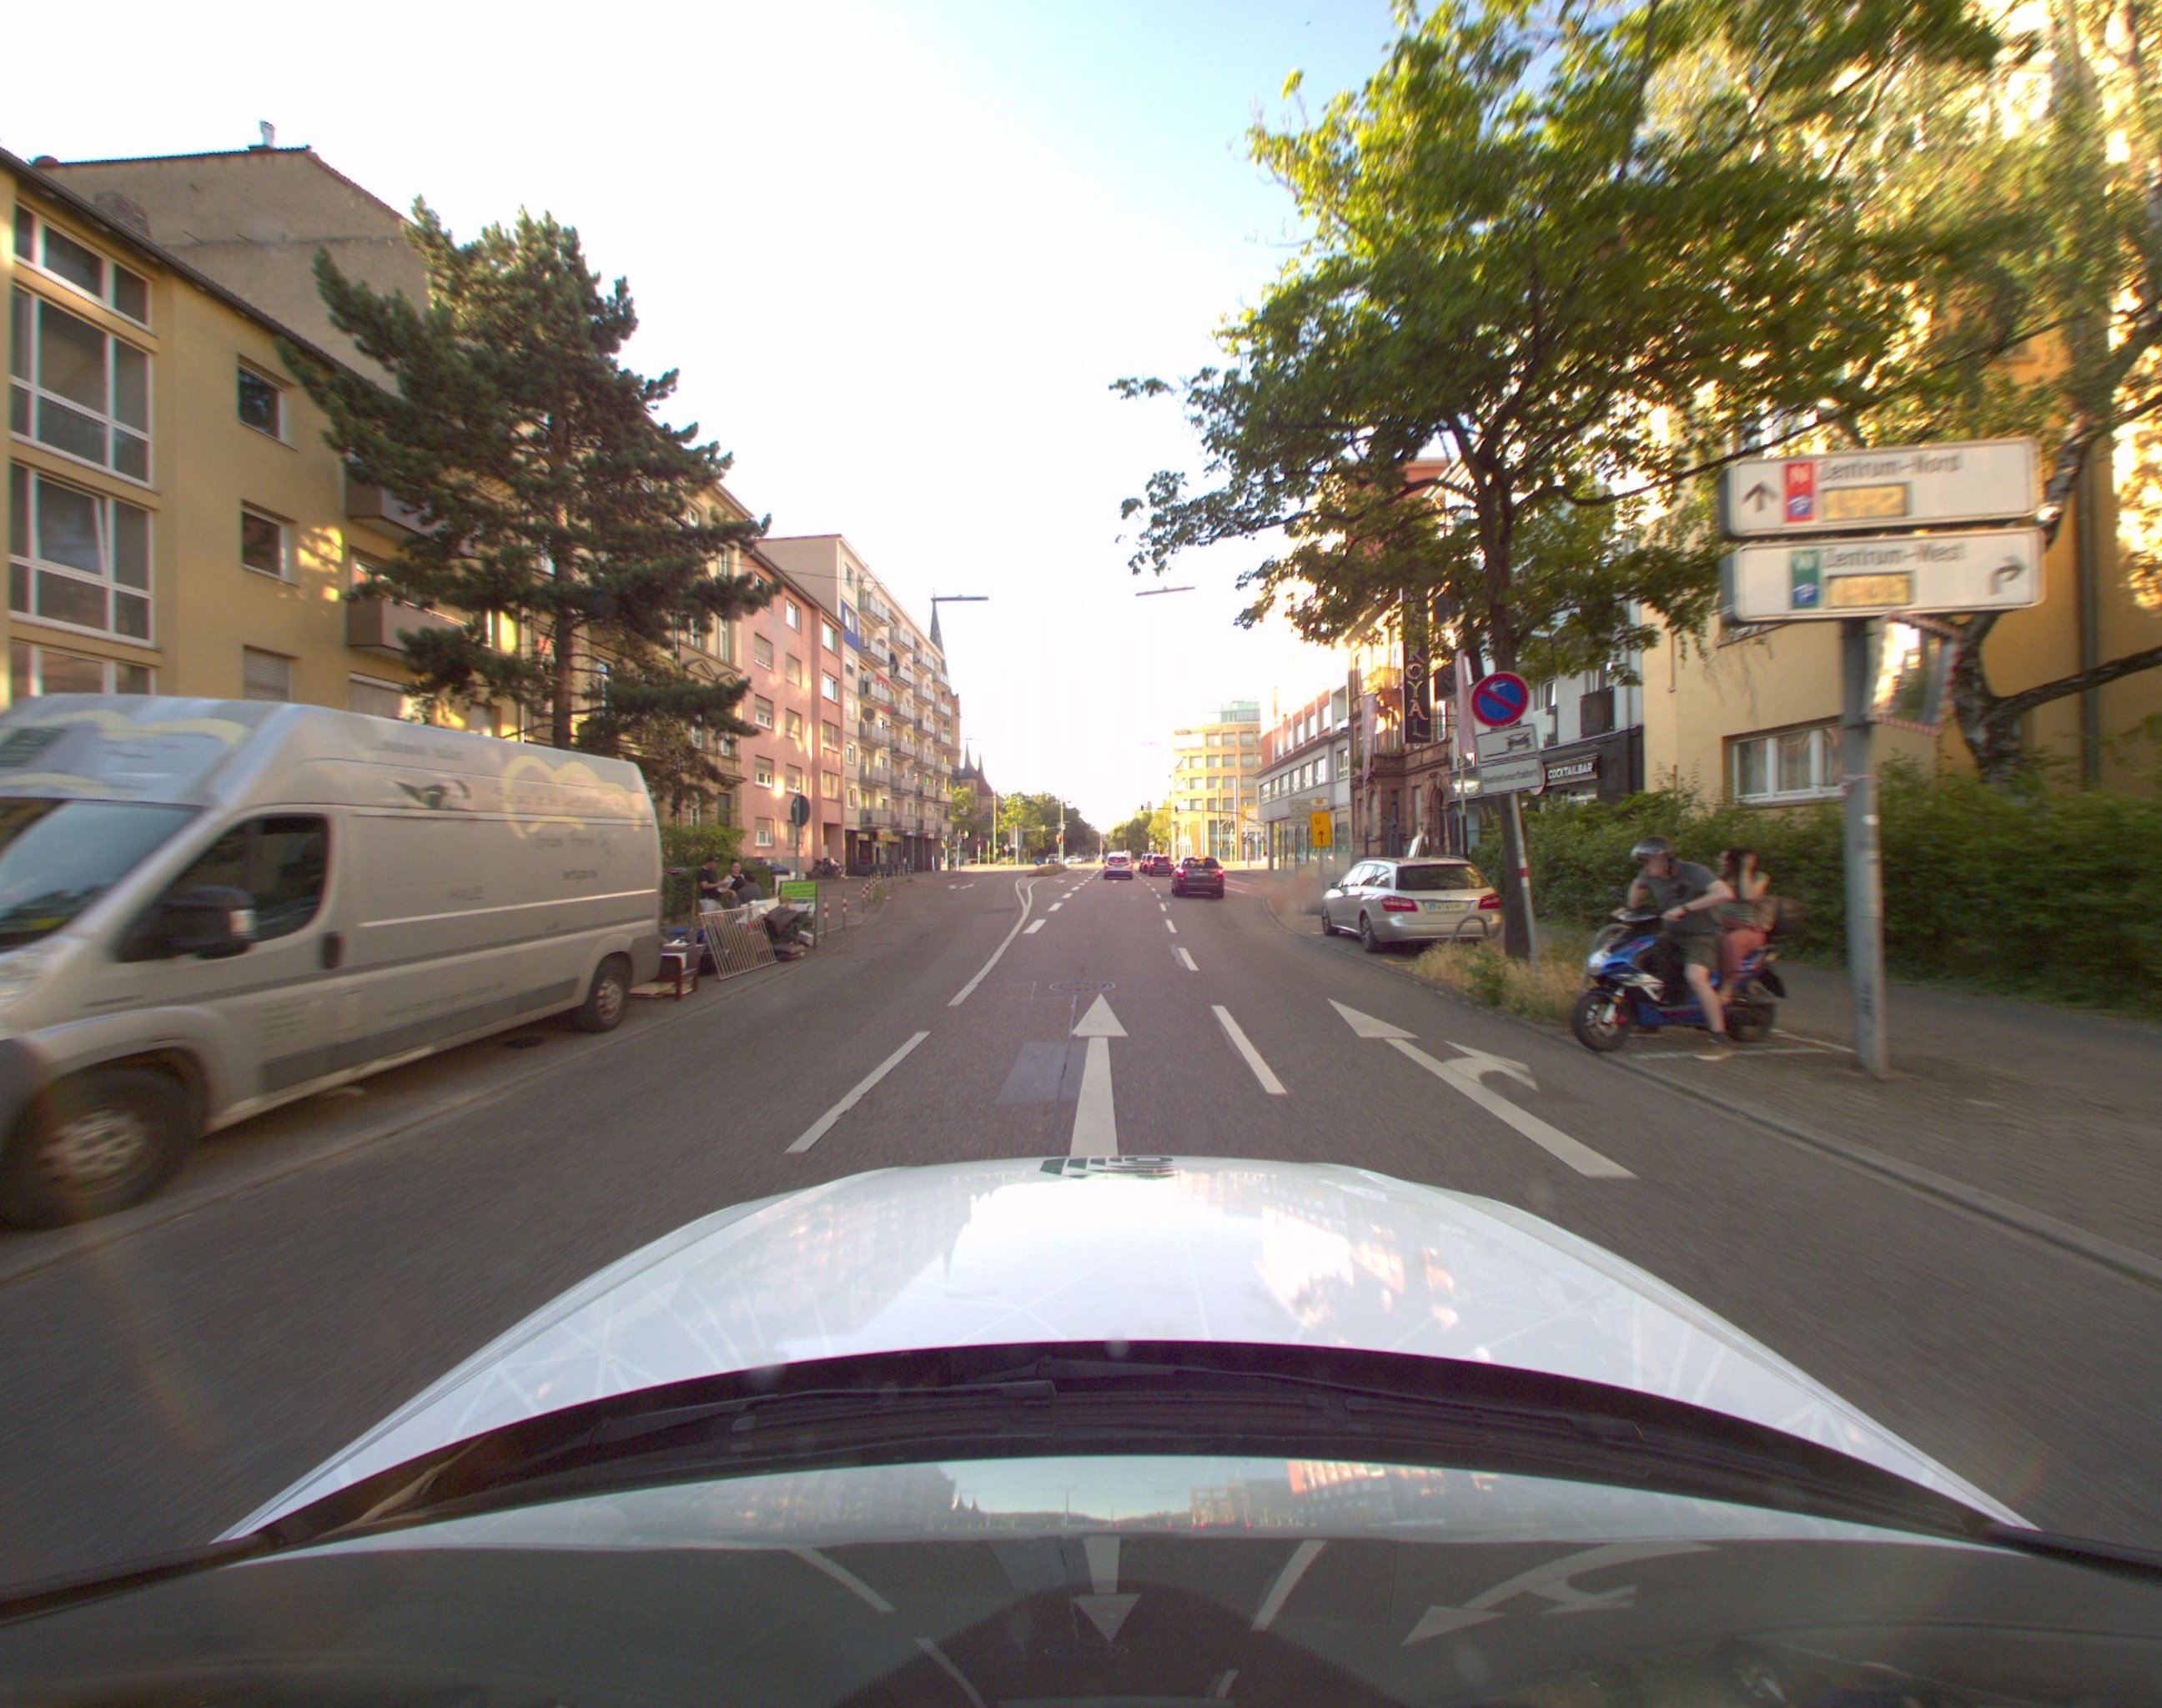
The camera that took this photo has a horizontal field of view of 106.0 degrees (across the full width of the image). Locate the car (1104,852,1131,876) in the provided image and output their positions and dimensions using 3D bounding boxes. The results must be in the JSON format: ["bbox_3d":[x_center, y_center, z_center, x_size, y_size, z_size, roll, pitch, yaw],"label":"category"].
[{"bbox_3d":[2.517,0.660,56.764,1.797,1.568,3.619,-1,0,1],"label":"car"}]

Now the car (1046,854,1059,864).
[{"bbox_3d":[-4.752,0.833,136.117,1.773,1.647,4.003,-1,0,3],"label":"car"}]

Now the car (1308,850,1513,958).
[{"bbox_3d":[5.462,0.726,14.269,1.848,1.512,4.839,-2,0,4],"label":"car"}]

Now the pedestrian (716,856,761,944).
[{"bbox_3d":[-6.673,0.876,15.886,0.603,1.652,0.696,-1,0,-4],"label":"pedestrian"}]

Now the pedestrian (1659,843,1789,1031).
[{"bbox_3d":[5.188,0.630,6.601,0.438,1.430,0.702,-1,0,-10],"label":"pedestrian"}]

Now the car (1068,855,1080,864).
[{"bbox_3d":[-1.205,0.903,142.044,1.773,1.464,4.003,-1,0,3],"label":"car"}]

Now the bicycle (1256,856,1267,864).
[{"bbox_3d":[27.189,0.893,122.670,1.510,1.172,0.476,-1,0,8],"label":"bicycle"}]

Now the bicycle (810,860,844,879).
[{"bbox_3d":[-13.745,0.824,44.131,1.667,1.041,0.548,0,-1,-5],"label":"bicycle"}]

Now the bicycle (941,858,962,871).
[{"bbox_3d":[-12.238,1.020,76.732,1.821,1.188,0.734,-1,0,1],"label":"bicycle"}]

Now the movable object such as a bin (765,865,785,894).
[{"bbox_3d":[-12.221,1.014,32.525,0.643,1.111,0.578,2,-1,-29],"label":"movable object such as a bin"}]

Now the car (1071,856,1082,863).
[{"bbox_3d":[-0.838,1.106,151.603,1.773,1.236,4.003,-1,0,3],"label":"car"}]

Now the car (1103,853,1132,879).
[{"bbox_3d":[2.237,0.709,50.293,1.701,1.510,4.311,0,0,2],"label":"car"}]

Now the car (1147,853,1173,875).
[{"bbox_3d":[5.518,0.672,57.227,1.644,1.484,4.241,0,0,2],"label":"car"}]

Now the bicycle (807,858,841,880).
[{"bbox_3d":[-13.678,0.811,43.323,1.677,1.160,0.492,1,-1,-24],"label":"bicycle"}]

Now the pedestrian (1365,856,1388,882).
[{"bbox_3d":[12.363,0.621,34.077,0.687,1.043,0.946,-1,0,5],"label":"pedestrian"}]

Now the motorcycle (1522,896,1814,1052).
[{"bbox_3d":[4.735,0.922,6.626,1.925,1.071,0.817,-1,0,-10],"label":"motorcycle"}]

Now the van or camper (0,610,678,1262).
[{"bbox_3d":[-5.447,0.324,5.917,2.029,2.664,6.014,1,0,-1],"label":"van or camper"}]

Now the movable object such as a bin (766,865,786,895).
[{"bbox_3d":[-11.735,0.996,31.316,0.643,1.111,0.578,2,-1,-29],"label":"movable object such as a bin"}]

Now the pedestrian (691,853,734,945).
[{"bbox_3d":[-6.820,0.813,15.103,0.479,1.652,0.724,-1,0,-4],"label":"pedestrian"}]

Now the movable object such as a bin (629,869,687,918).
[{"bbox_3d":[-9.535,0.884,18.384,0.864,1.051,0.769,2,0,0],"label":"movable object such as a bin"}]

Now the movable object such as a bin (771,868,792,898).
[{"bbox_3d":[-11.065,1.058,30.108,0.643,1.083,0.578,2,-1,-29],"label":"movable object such as a bin"}]

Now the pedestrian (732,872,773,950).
[{"bbox_3d":[-5.999,1.030,14.880,0.557,1.378,0.480,1,0,-4],"label":"pedestrian"}]

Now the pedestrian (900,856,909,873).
[{"bbox_3d":[-14.563,0.871,67.185,0.479,1.384,0.484,-1,-1,22],"label":"pedestrian"}]

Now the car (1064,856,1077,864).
[{"bbox_3d":[-1.753,1.038,135.479,1.773,1.236,4.003,-1,0,3],"label":"car"}]

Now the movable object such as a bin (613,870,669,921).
[{"bbox_3d":[-9.527,0.884,17.661,0.864,1.051,0.582,2,0,0],"label":"movable object such as a bin"}]

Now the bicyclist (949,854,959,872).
[{"bbox_3d":[-12.106,0.829,77.492,0.780,1.660,0.900,0,0,0],"label":"bicyclist"}]

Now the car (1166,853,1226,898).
[{"bbox_3d":[4.075,0.710,29.456,1.701,1.457,4.161,-1,0,2],"label":"car"}]

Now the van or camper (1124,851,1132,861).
[{"bbox_3d":[12.491,0.506,214.722,1.985,2.640,5.356,-1,0,4],"label":"van or camper"}]

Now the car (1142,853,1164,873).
[{"bbox_3d":[5.554,0.685,63.208,1.484,1.505,3.479,-1,0,1],"label":"car"}]

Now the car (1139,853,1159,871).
[{"bbox_3d":[5.715,0.660,68.764,1.578,1.446,3.649,1,0,2],"label":"car"}]

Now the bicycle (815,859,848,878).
[{"bbox_3d":[-13.752,0.810,44.961,1.671,1.041,0.547,0,-1,-13],"label":"bicycle"}]

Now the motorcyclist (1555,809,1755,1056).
[{"bbox_3d":[4.508,0.564,6.480,0.736,1.778,1.085,-1,0,-10],"label":"motorcyclist"}]
